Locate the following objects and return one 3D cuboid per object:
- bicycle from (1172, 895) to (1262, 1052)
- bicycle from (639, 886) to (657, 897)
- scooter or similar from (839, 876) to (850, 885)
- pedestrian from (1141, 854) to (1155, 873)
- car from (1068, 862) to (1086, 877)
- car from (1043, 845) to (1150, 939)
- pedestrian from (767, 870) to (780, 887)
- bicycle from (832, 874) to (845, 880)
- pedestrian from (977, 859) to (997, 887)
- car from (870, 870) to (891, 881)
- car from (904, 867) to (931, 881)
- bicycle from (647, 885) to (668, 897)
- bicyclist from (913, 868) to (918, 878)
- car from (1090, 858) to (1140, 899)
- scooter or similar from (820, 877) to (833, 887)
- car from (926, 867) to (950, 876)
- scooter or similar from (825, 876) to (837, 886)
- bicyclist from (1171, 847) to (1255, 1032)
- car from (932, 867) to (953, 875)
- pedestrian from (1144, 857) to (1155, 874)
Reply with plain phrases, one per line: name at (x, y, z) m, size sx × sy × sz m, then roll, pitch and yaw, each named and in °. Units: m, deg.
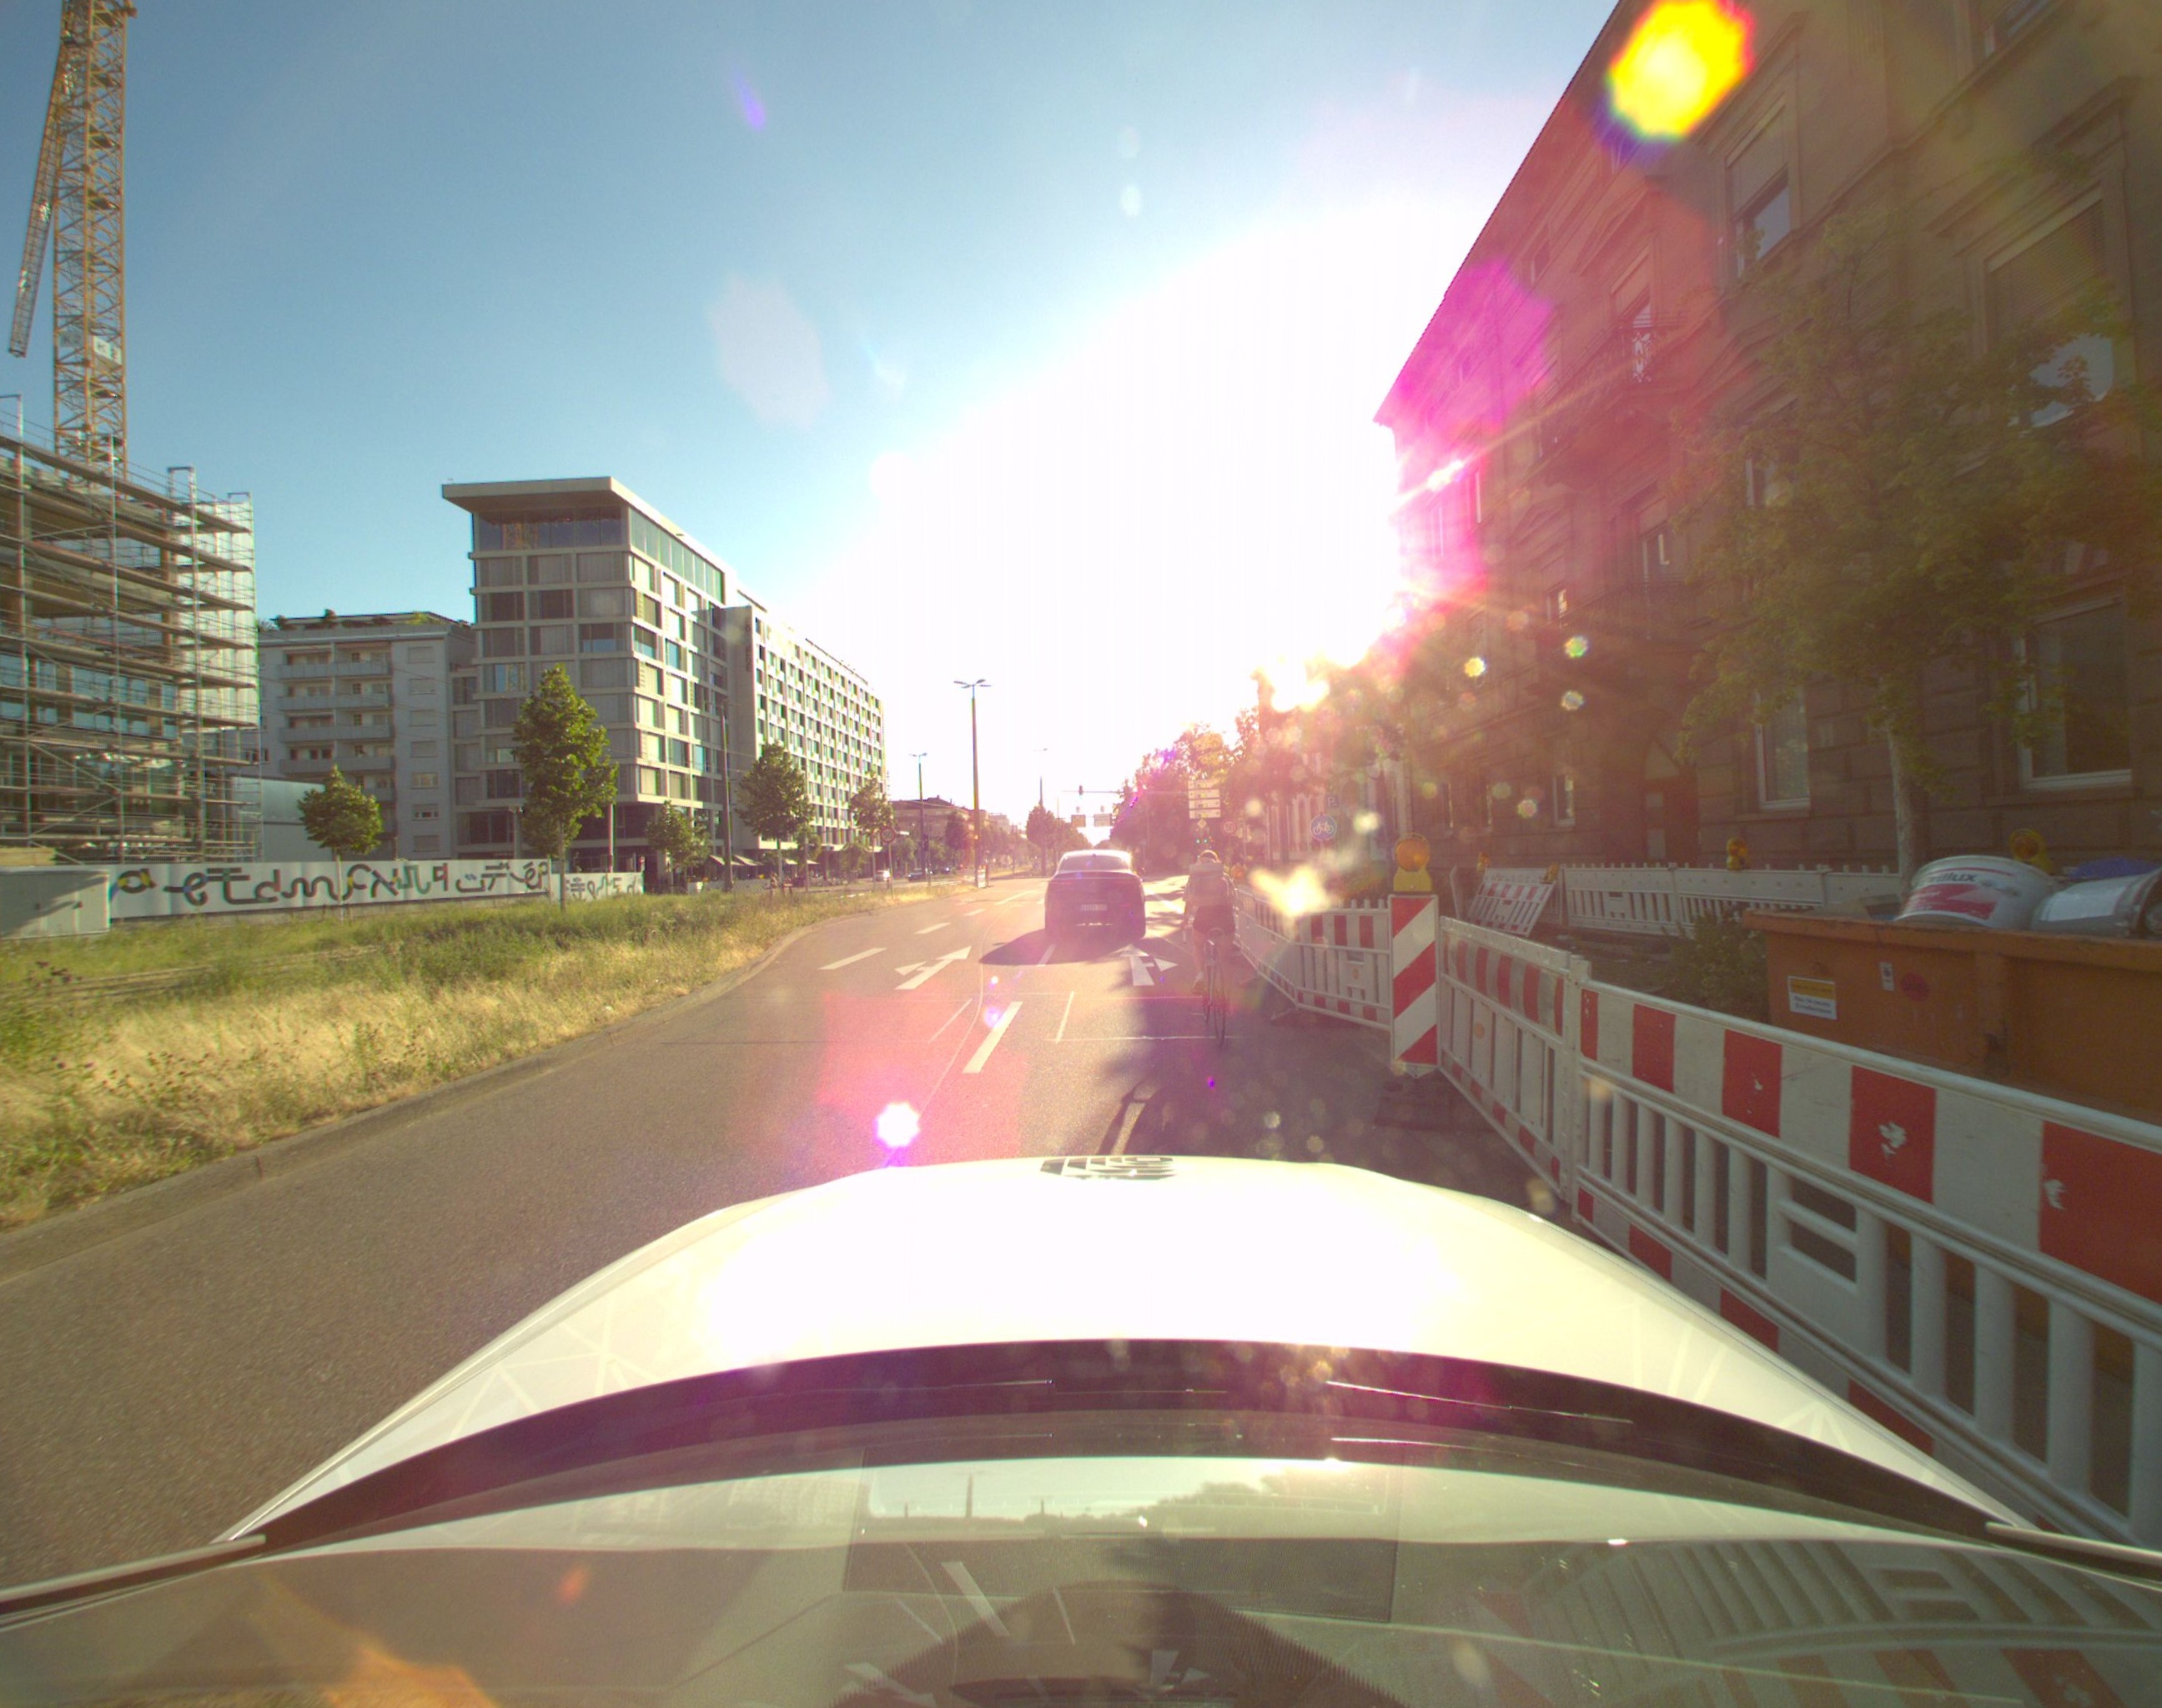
bicycle at (1.141, 0.961, 7.157) m, size 0.518 × 1.097 × 1.844 m, roll -2°, pitch 0°, yaw 2°
bicycle at (-38.402, 3.331, 72.286) m, size 0.533 × 0.936 × 1.901 m, roll -2°, pitch -1°, yaw 2°
scooter or similar at (-28.348, 3.118, 97.620) m, size 1.238 × 1.019 × 0.435 m, roll -2°, pitch -1°, yaw 2°
pedestrian at (6.552, 0.952, 79.813) m, size 0.863 × 1.802 × 0.898 m, roll -4°, pitch -1°, yaw -33°
car at (-0.380, 1.717, 90.843) m, size 1.879 × 1.580 × 4.001 m, roll -1°, pitch 0°, yaw 1°
car at (0.304, 0.705, 17.386) m, size 1.987 × 1.734 × 3.999 m, roll -1°, pitch 0°, yaw 0°
pedestrian at (-32.226, 2.611, 85.326) m, size 0.863 × 1.721 × 0.806 m, roll -2°, pitch -1°, yaw 11°
bicycle at (-34.959, 3.320, 117.399) m, size 1.801 × 0.905 × 0.511 m, roll -2°, pitch -1°, yaw -5°
pedestrian at (-5.785, 1.170, 50.037) m, size 0.917 × 1.649 × 0.768 m, roll -2°, pitch -1°, yaw 14°
car at (-27.829, 2.989, 112.931) m, size 1.750 × 1.328 × 4.002 m, roll -1°, pitch -1°, yaw 2°
car at (-18.327, 2.223, 91.595) m, size 1.884 × 1.343 × 4.852 m, roll -2°, pitch -1°, yaw 2°
bicycle at (-37.541, 3.263, 72.274) m, size 0.616 × 0.936 × 2.217 m, roll -2°, pitch -1°, yaw 2°
bicyclist at (-24.970, 2.812, 122.819) m, size 0.622 × 1.465 × 0.851 m, roll -2°, pitch -1°, yaw 2°
car at (1.381, 0.964, 33.563) m, size 1.890 × 1.527 × 4.060 m, roll -2°, pitch 0°, yaw 1°
scooter or similar at (-28.632, 3.179, 91.551) m, size 1.238 × 1.019 × 0.511 m, roll -2°, pitch -1°, yaw 2°
car at (-26.695, 3.259, 152.438) m, size 4.116 × 1.601 × 1.730 m, roll 1°, pitch -1°, yaw -39°
scooter or similar at (-28.602, 3.085, 93.079) m, size 1.238 × 1.019 × 0.435 m, roll -2°, pitch -1°, yaw 2°
bicyclist at (1.139, 0.701, 7.199) m, size 0.550 × 1.491 × 1.082 m, roll -2°, pitch 0°, yaw 2°
car at (-26.542, 3.309, 155.970) m, size 3.643 × 1.523 × 1.602 m, roll 1°, pitch -1°, yaw -39°
pedestrian at (6.618, 1.090, 78.923) m, size 0.766 × 1.636 × 0.768 m, roll -4°, pitch -1°, yaw -8°
